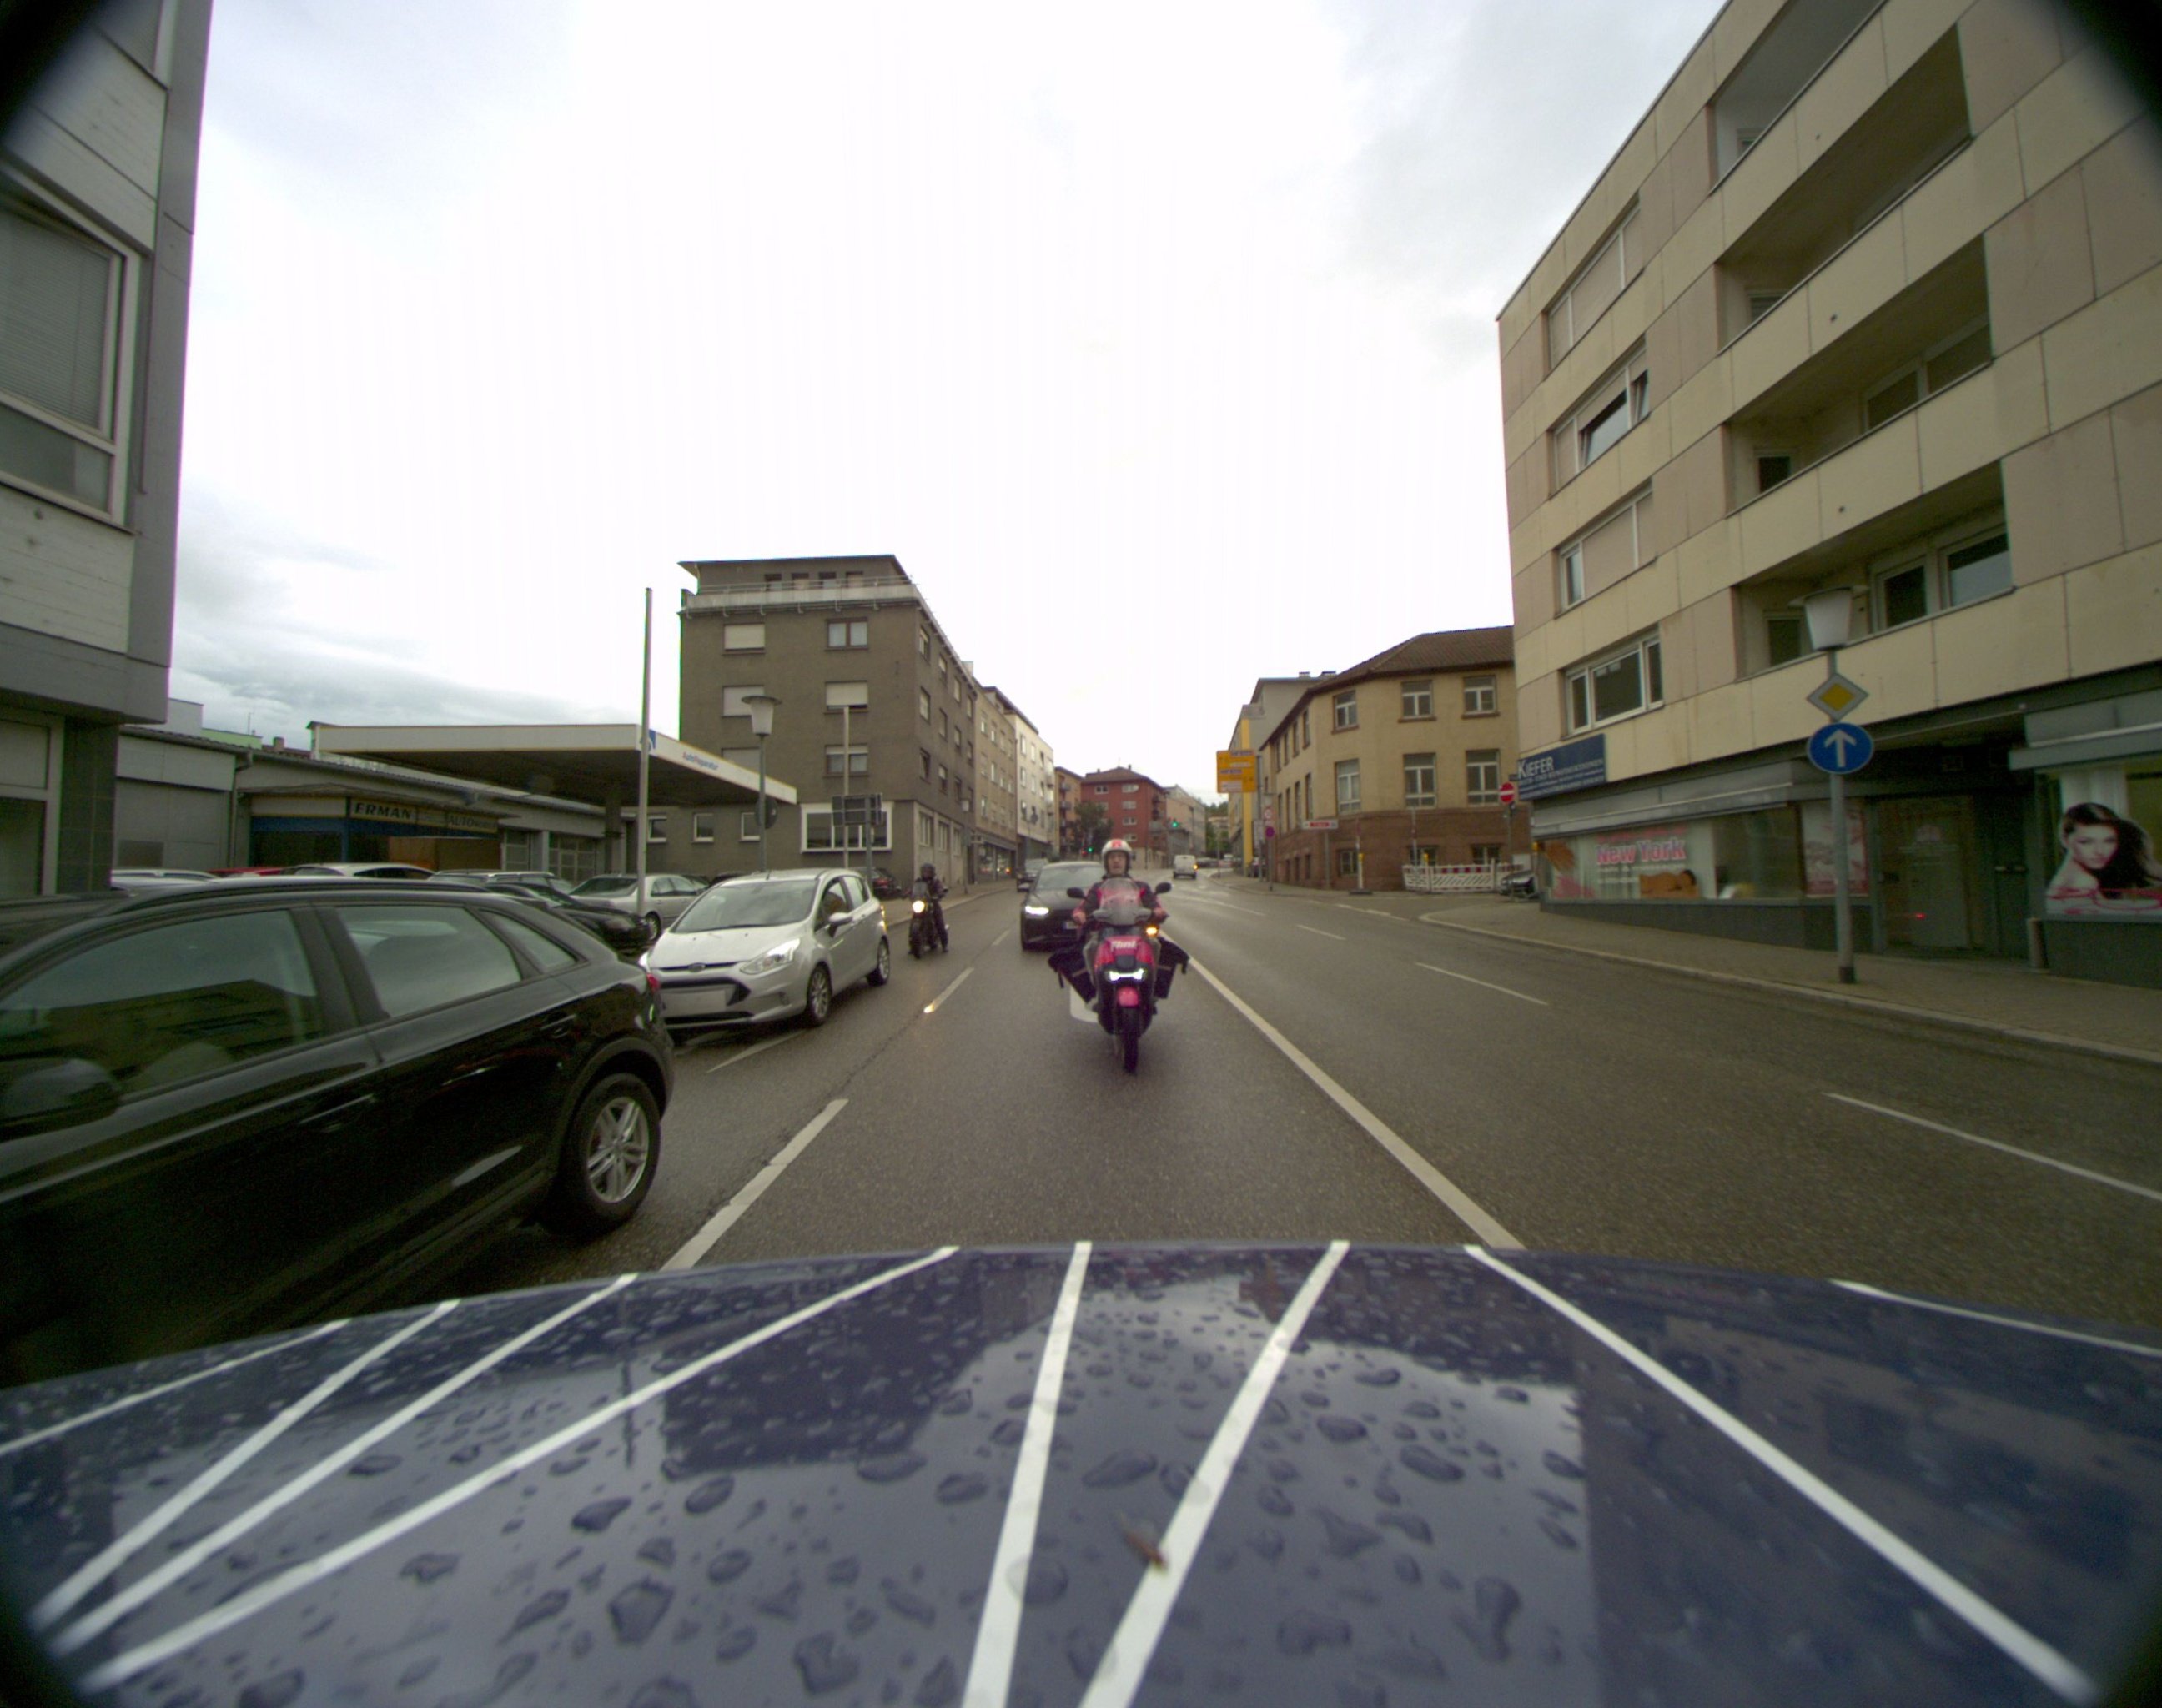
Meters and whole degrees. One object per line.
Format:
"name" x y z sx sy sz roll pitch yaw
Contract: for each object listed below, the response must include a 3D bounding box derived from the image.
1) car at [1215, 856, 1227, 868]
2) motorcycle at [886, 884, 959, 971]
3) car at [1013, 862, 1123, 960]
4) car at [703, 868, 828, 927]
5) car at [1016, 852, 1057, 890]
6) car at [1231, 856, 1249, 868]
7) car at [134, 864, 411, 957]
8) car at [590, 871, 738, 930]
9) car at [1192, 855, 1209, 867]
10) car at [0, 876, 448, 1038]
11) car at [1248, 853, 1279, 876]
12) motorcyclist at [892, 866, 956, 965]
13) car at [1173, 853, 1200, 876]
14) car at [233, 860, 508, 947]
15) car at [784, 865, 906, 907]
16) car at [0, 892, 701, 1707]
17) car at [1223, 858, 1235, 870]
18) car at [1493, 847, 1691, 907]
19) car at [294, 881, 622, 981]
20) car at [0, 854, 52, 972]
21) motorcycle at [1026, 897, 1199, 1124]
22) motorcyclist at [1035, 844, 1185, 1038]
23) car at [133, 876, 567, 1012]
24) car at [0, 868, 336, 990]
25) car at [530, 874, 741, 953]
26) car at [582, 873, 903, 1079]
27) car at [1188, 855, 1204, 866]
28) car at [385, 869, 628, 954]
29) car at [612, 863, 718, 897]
"car" 23.334 1.266 126.886 1.847 1.892 3.768 -1 0 10
"motorcycle" -2.671 1.195 13.093 0.847 1.218 2.372 -4 0 -5
"car" -0.114 0.941 14.432 1.705 1.451 4.319 -3 0 3
"car" -9.257 1.214 22.726 1.793 1.503 4.437 -1 0 1
"car" -2.353 0.888 41.029 1.848 1.892 3.765 -1 0 2
"car" 20.293 0.966 97.068 1.861 1.445 4.321 1 0 8
"car" -17.466 1.135 16.752 1.793 1.720 3.949 -1 0 1
"car" -12.068 1.296 22.385 1.793 1.502 4.420 2 -1 1
"car" 15.218 0.883 97.040 1.861 1.445 4.320 -1 0 5
"car" -9.680 1.036 8.155 4.003 1.441 1.796 2 -1 -16
"car" 13.234 0.738 55.287 1.861 1.445 3.966 -4 -1 10
"motorcyclist" -2.679 1.026 13.068 0.847 1.580 0.962 -4 1 -5
"car" 8.265 0.780 60.010 1.865 1.793 4.267 0 0 4
"car" -15.193 0.963 16.673 1.793 1.591 4.419 -1 0 1
"car" -10.101 1.340 32.774 4.531 1.495 2.001 -3 0 4
"car" -2.946 1.045 1.794 1.827 1.551 4.201 -4 0 1
"car" 22.956 1.539 117.934 1.861 1.688 4.322 0 0 10
"car" 14.519 0.643 21.830 4.358 1.495 1.755 -3 0 10
"car" -10.424 1.241 13.056 4.002 1.392 1.669 -1 0 -14
"car" -14.848 0.747 8.310 1.793 1.513 3.949 1 0 1
"motorcycle" 0.255 1.061 6.109 1.010 1.218 2.694 -4 0 2
"motorcyclist" 0.231 0.646 6.019 1.010 1.373 0.835 -4 0 2
"car" -9.872 1.146 10.680 4.002 1.521 1.761 -1 0 -15
"car" -14.735 1.078 12.324 1.793 1.591 3.519 1 0 1
"car" -9.633 1.212 16.972 1.792 1.407 4.616 0 0 3
"car" -3.402 1.101 8.680 1.831 1.532 4.251 -5 0 -3
"car" 16.272 0.902 107.404 1.860 1.445 4.322 -1 0 13
"car" -12.278 1.156 16.720 1.793 1.535 4.493 2 -1 1
"car" -18.409 1.171 33.720 3.751 1.445 1.795 0 -2 3
